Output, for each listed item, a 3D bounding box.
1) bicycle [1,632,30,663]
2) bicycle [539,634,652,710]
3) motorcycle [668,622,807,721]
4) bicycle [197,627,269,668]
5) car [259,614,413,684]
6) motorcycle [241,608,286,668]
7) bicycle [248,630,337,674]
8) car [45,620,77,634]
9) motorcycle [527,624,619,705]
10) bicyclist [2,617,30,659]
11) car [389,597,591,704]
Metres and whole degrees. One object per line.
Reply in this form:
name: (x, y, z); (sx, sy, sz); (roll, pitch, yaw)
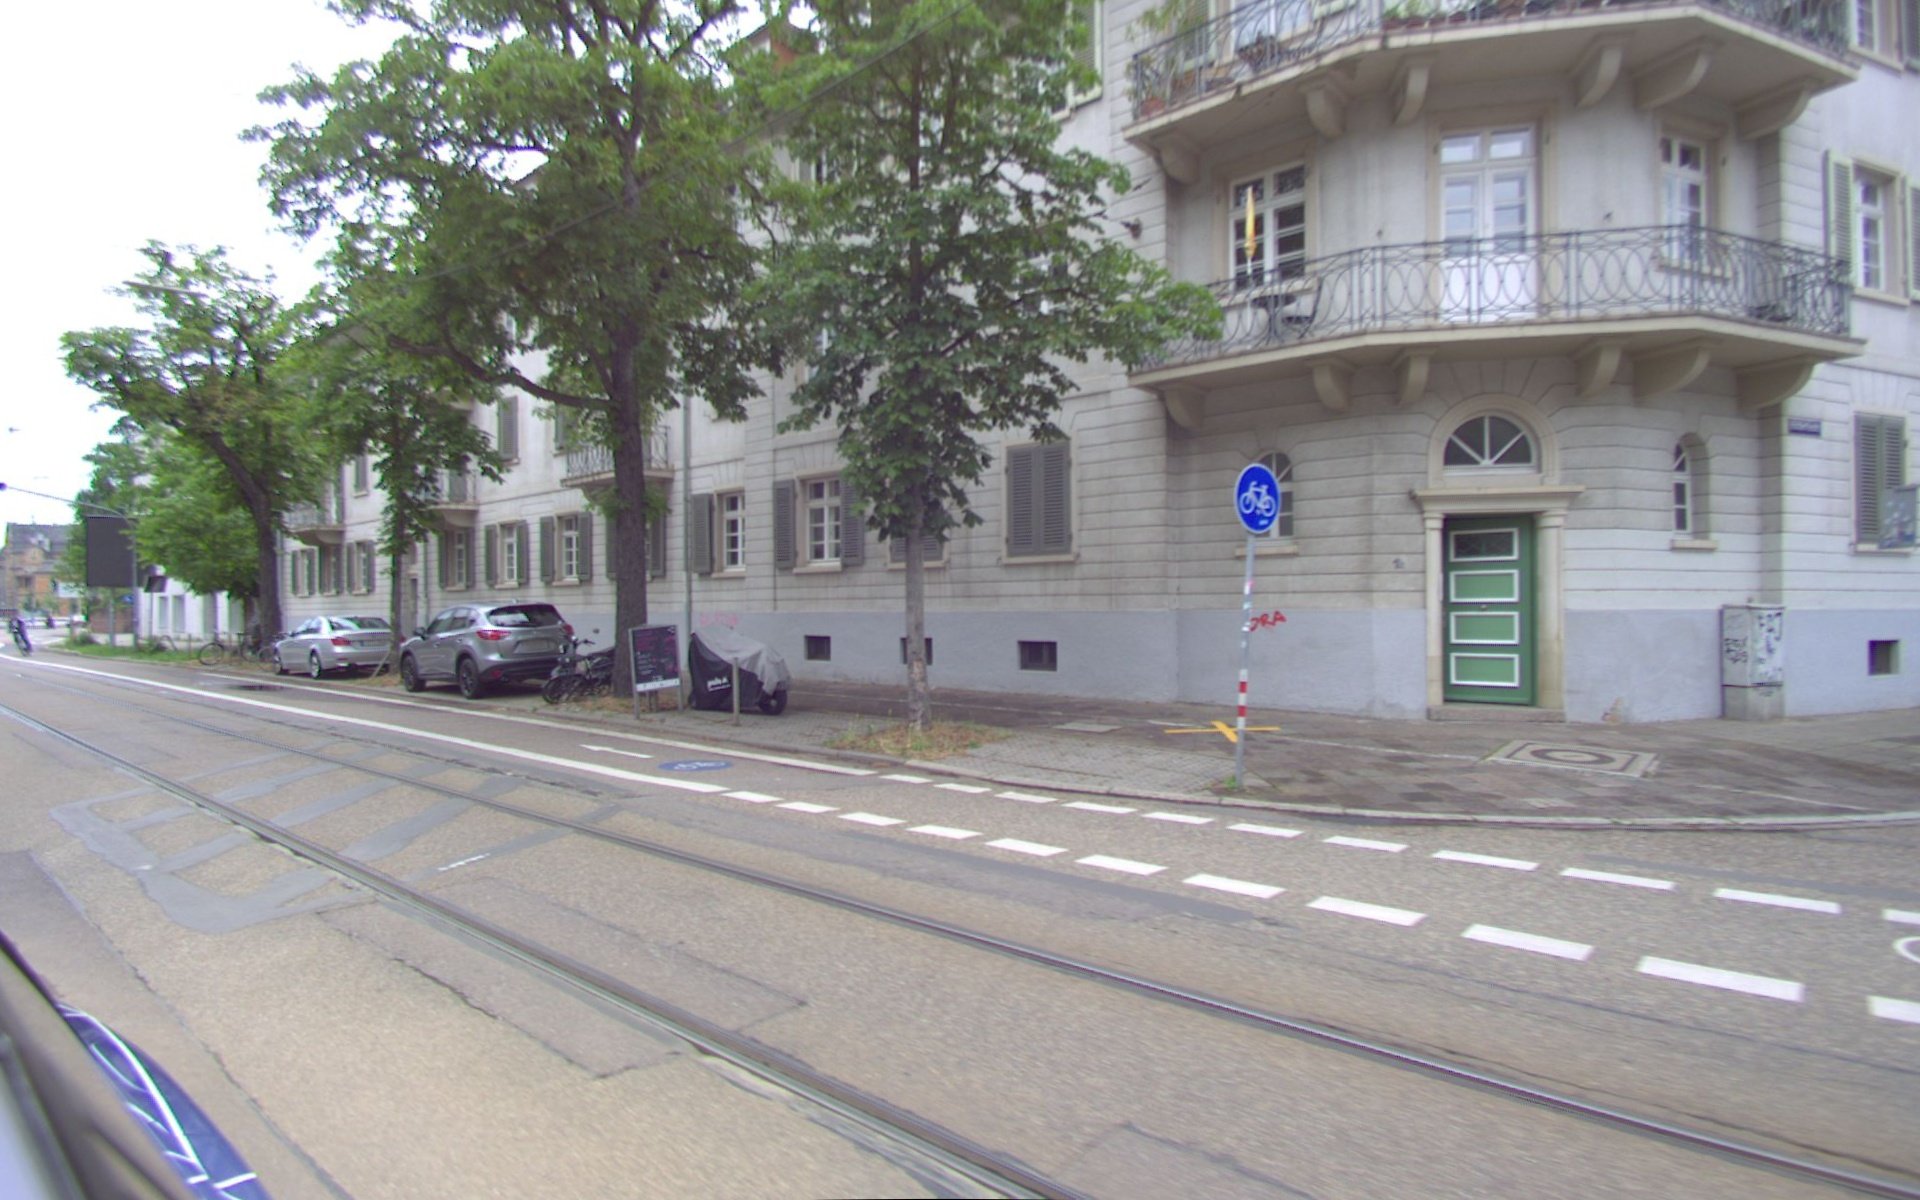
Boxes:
bicycle: (-38.390, 1.926, 41.150); (0.764, 1.221, 1.872); (0, -1, -40)
bicycle: (-5.707, 1.101, 15.861); (1.360, 1.012, 0.930); (-4, 2, -45)
motorcycle: (-3.110, 0.953, 14.043); (2.137, 1.267, 0.535); (-1, 1, 35)
bicycle: (-22.049, 1.428, 30.725); (1.718, 1.137, 0.519); (-3, 0, -31)
car: (-14.952, 1.116, 24.147); (4.611, 1.477, 1.793); (-1, 0, 41)
motorcycle: (-20.305, 1.077, 29.469); (0.822, 1.655, 2.484); (0, -1, -41)
bicycle: (-17.717, 1.366, 26.895); (0.563, 1.035, 1.877); (-1, 0, 37)
car: (-107.459, 3.204, 121.013); (1.469, 1.520, 3.480); (-1, 0, -16)
motorcycle: (-6.321, 1.034, 16.556); (1.270, 1.231, 0.548); (-2, 0, -43)
bicyclist: (-38.446, 1.533, 41.222); (0.764, 1.703, 0.870); (0, -1, -40)
car: (-8.769, 0.866, 18.700); (4.292, 1.673, 1.818); (-1, 1, 42)
